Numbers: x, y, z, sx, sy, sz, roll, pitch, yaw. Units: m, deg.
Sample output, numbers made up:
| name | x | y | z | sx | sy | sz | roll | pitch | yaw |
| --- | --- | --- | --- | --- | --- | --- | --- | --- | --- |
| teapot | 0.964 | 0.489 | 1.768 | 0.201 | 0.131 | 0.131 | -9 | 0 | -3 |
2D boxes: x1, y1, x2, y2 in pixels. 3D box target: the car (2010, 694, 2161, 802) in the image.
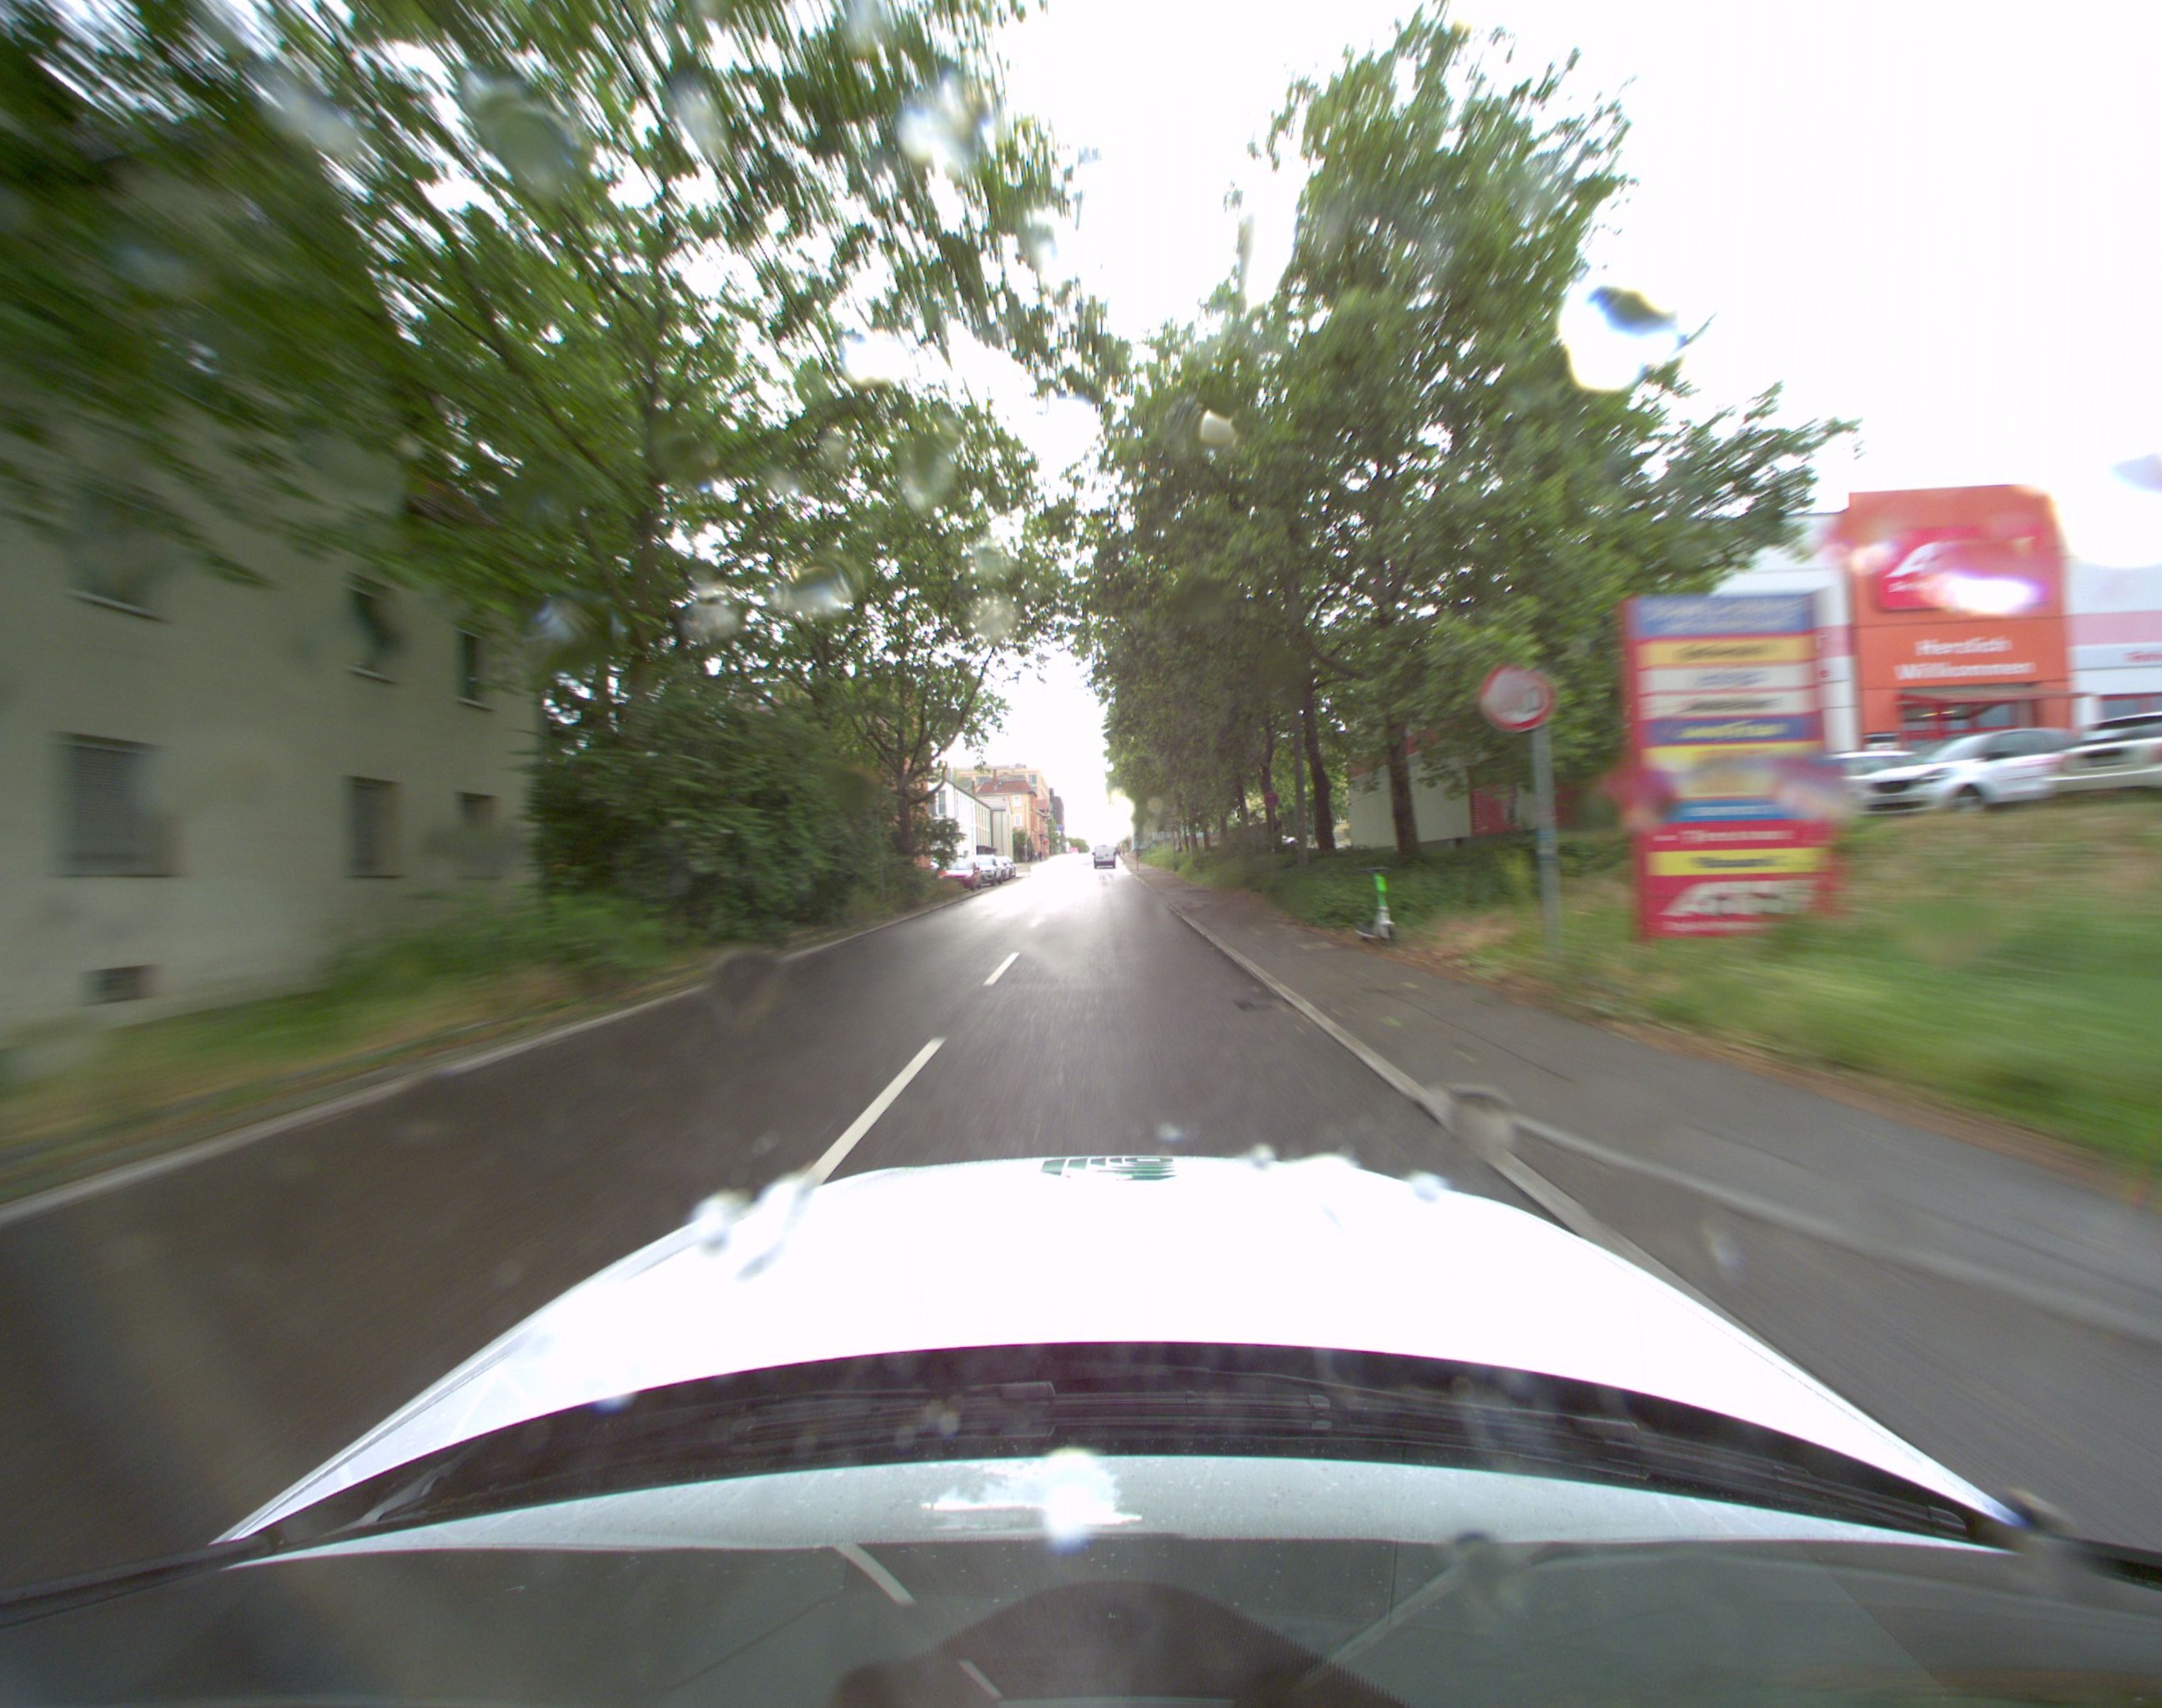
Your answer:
| name | x | y | z | sx | sy | sz | roll | pitch | yaw |
| --- | --- | --- | --- | --- | --- | --- | --- | --- | --- |
| car | 16.148 | -1.478 | 11.513 | 3.904 | 1.293 | 1.833 | -1 | -1 | 1 |

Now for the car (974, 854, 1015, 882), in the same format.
| name | x | y | z | sx | sy | sz | roll | pitch | yaw |
| --- | --- | --- | --- | --- | --- | --- | --- | --- | --- |
| car | -5.022 | 0.784 | 47.738 | 1.737 | 1.482 | 4.387 | -2 | 0 | 2 |

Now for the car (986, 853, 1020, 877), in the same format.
| name | x | y | z | sx | sy | sz | roll | pitch | yaw |
| --- | --- | --- | --- | --- | --- | --- | --- | --- | --- |
| car | -5.007 | 0.686 | 52.767 | 1.628 | 1.482 | 4.360 | 0 | 0 | 2 |

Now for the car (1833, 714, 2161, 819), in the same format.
| name | x | y | z | sx | sy | sz | roll | pitch | yaw |
| --- | --- | --- | --- | --- | --- | --- | --- | --- | --- |
| car | 15.937 | -1.459 | 14.056 | 4.084 | 1.466 | 1.886 | -2 | 0 | 2 |

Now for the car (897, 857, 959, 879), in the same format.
| name | x | y | z | sx | sy | sz | roll | pitch | yaw |
| --- | --- | --- | --- | --- | --- | --- | --- | --- | --- |
| car | -11.710 | 1.032 | 62.606 | 4.273 | 1.463 | 2.069 | -3 | 0 | 1 |

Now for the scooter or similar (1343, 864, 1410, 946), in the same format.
| name | x | y | z | sx | sy | sz | roll | pitch | yaw |
| --- | --- | --- | --- | --- | --- | --- | --- | --- | --- |
| scooter or similar | 4.392 | 0.746 | 12.198 | 0.424 | 1.142 | 1.528 | 0 | -2 | 0 |

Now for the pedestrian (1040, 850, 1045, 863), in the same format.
| name | x | y | z | sx | sy | sz | roll | pitch | yaw |
| --- | --- | --- | --- | --- | --- | --- | --- | --- | --- |
| pedestrian | -5.991 | 0.404 | 127.570 | 0.668 | 2.013 | 0.943 | -2 | 0 | 6 |

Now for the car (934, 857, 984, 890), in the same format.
| name | x | y | z | sx | sy | sz | roll | pitch | yaw |
| --- | --- | --- | --- | --- | --- | --- | --- | --- | --- |
| car | -5.355 | 0.827 | 36.228 | 1.633 | 1.373 | 3.758 | -1 | 0 | 0 |

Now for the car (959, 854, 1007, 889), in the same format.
| name | x | y | z | sx | sy | sz | roll | pitch | yaw |
| --- | --- | --- | --- | --- | --- | --- | --- | --- | --- |
| car | -4.949 | 0.844 | 41.628 | 1.684 | 1.542 | 4.119 | -5 | 1 | 2 |

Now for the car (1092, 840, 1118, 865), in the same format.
| name | x | y | z | sx | sy | sz | roll | pitch | yaw |
| --- | --- | --- | --- | --- | --- | --- | --- | --- | --- |
| car | 2.277 | -0.116 | 77.390 | 2.327 | 2.231 | 4.002 | -3 | -2 | 2 |

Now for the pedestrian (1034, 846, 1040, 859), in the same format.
| name | x | y | z | sx | sy | sz | roll | pitch | yaw |
| --- | --- | --- | --- | --- | --- | --- | --- | --- | --- |
| pedestrian | -6.899 | -0.185 | 127.613 | 0.668 | 2.013 | 0.943 | -2 | 0 | 6 |

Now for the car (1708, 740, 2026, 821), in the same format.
| name | x | y | z | sx | sy | sz | roll | pitch | yaw |
| --- | --- | --- | --- | --- | --- | --- | --- | --- | --- |
| car | 15.560 | -1.433 | 16.316 | 4.593 | 1.334 | 1.801 | -2 | 0 | 1 |
